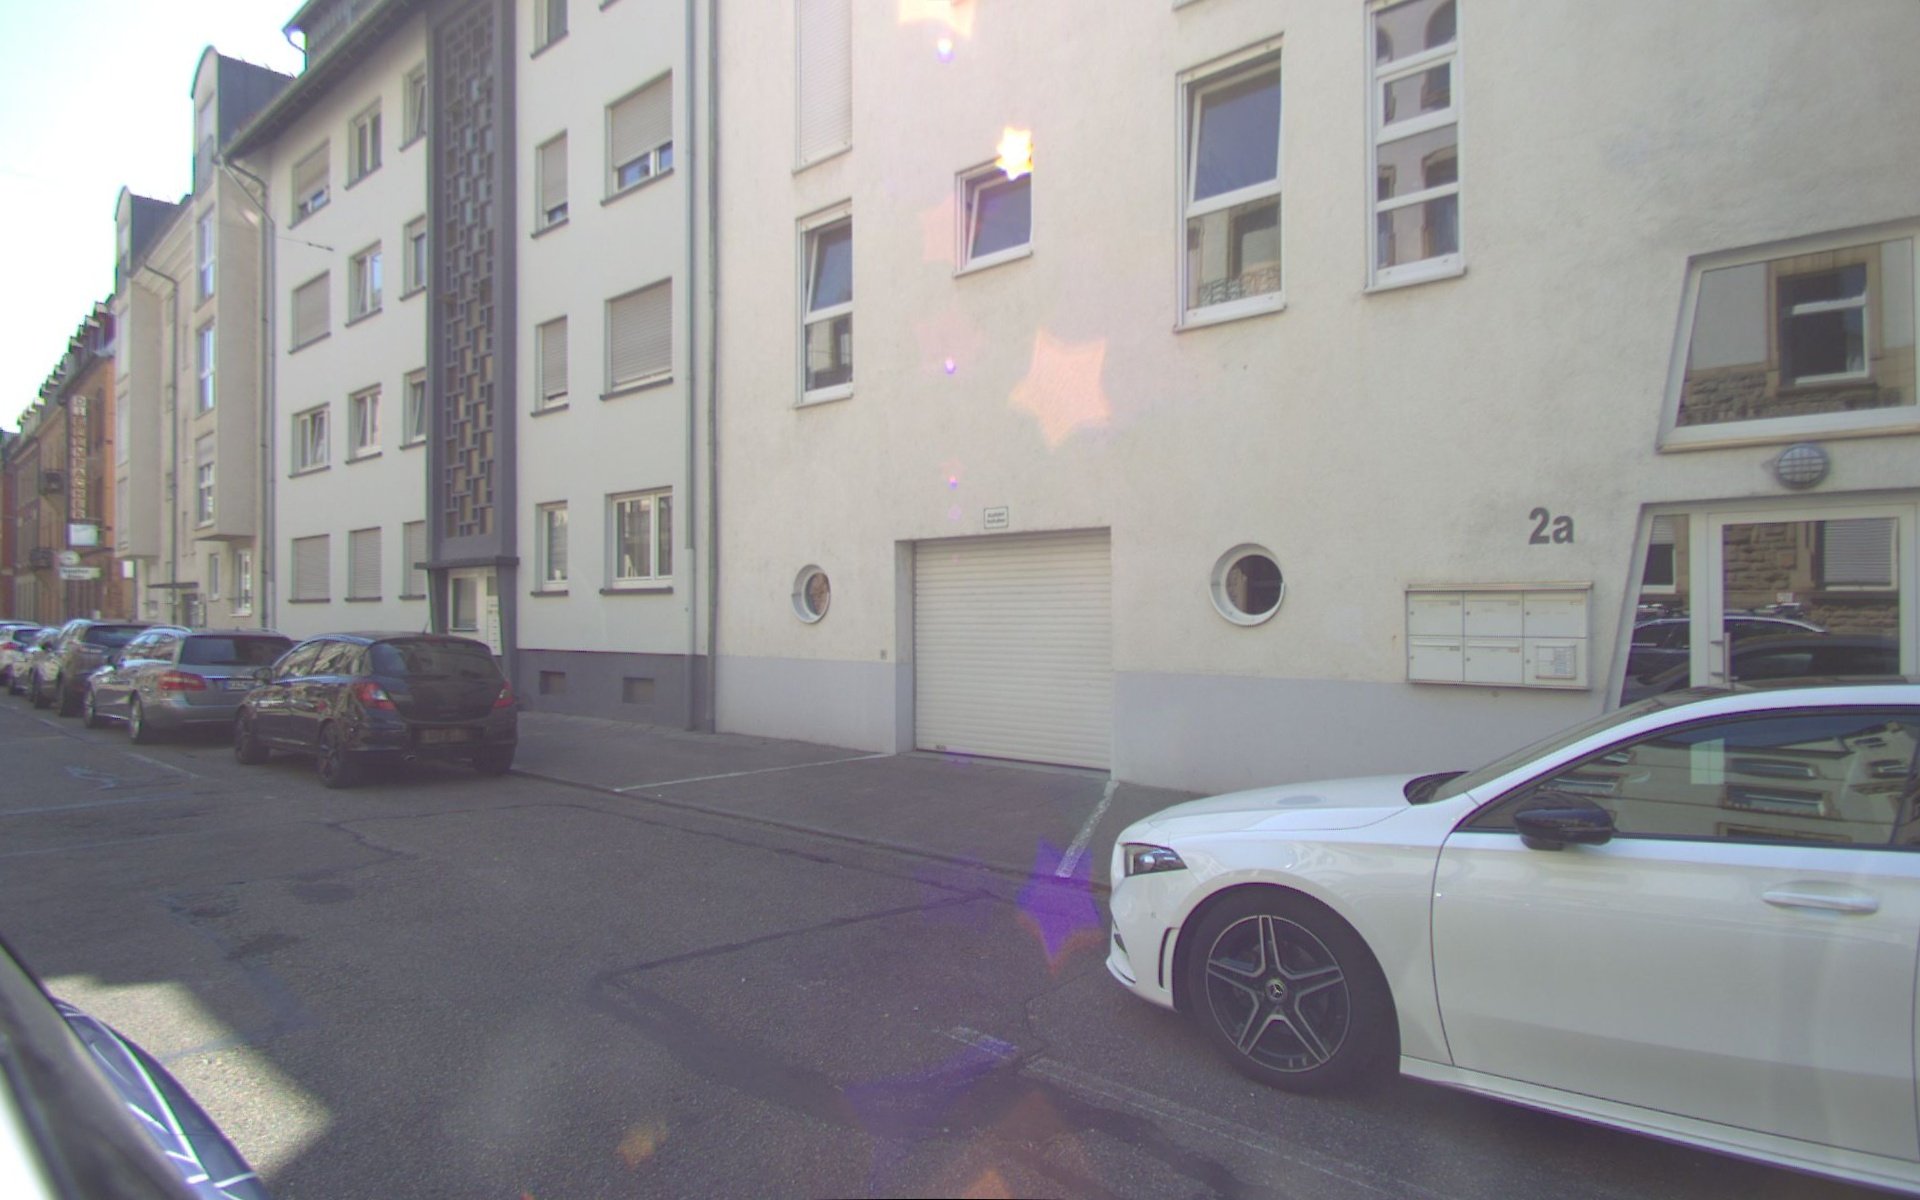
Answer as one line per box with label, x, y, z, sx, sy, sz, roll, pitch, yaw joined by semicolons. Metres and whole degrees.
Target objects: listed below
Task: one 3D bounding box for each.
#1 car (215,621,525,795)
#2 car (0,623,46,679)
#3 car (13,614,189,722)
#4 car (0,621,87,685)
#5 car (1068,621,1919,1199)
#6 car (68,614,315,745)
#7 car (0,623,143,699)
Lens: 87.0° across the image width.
car;-6.367;1.015;10.765;3.890;1.503;1.551;-1;-3;39
car;-29.012;1.478;30.328;3.847;1.561;1.613;0;-5;37
car;-14.894;1.110;17.482;3.973;1.656;1.587;-1;-3;39
car;-23.779;1.310;25.654;4.344;1.506;1.713;-1;-4;39
car;2.626;0.842;3.136;4.273;1.471;1.759;0;-3;38
car;-10.712;0.987;13.970;4.667;1.530;1.640;-1;-3;40
car;-18.736;1.226;21.122;4.344;1.404;1.747;-1;-3;39
